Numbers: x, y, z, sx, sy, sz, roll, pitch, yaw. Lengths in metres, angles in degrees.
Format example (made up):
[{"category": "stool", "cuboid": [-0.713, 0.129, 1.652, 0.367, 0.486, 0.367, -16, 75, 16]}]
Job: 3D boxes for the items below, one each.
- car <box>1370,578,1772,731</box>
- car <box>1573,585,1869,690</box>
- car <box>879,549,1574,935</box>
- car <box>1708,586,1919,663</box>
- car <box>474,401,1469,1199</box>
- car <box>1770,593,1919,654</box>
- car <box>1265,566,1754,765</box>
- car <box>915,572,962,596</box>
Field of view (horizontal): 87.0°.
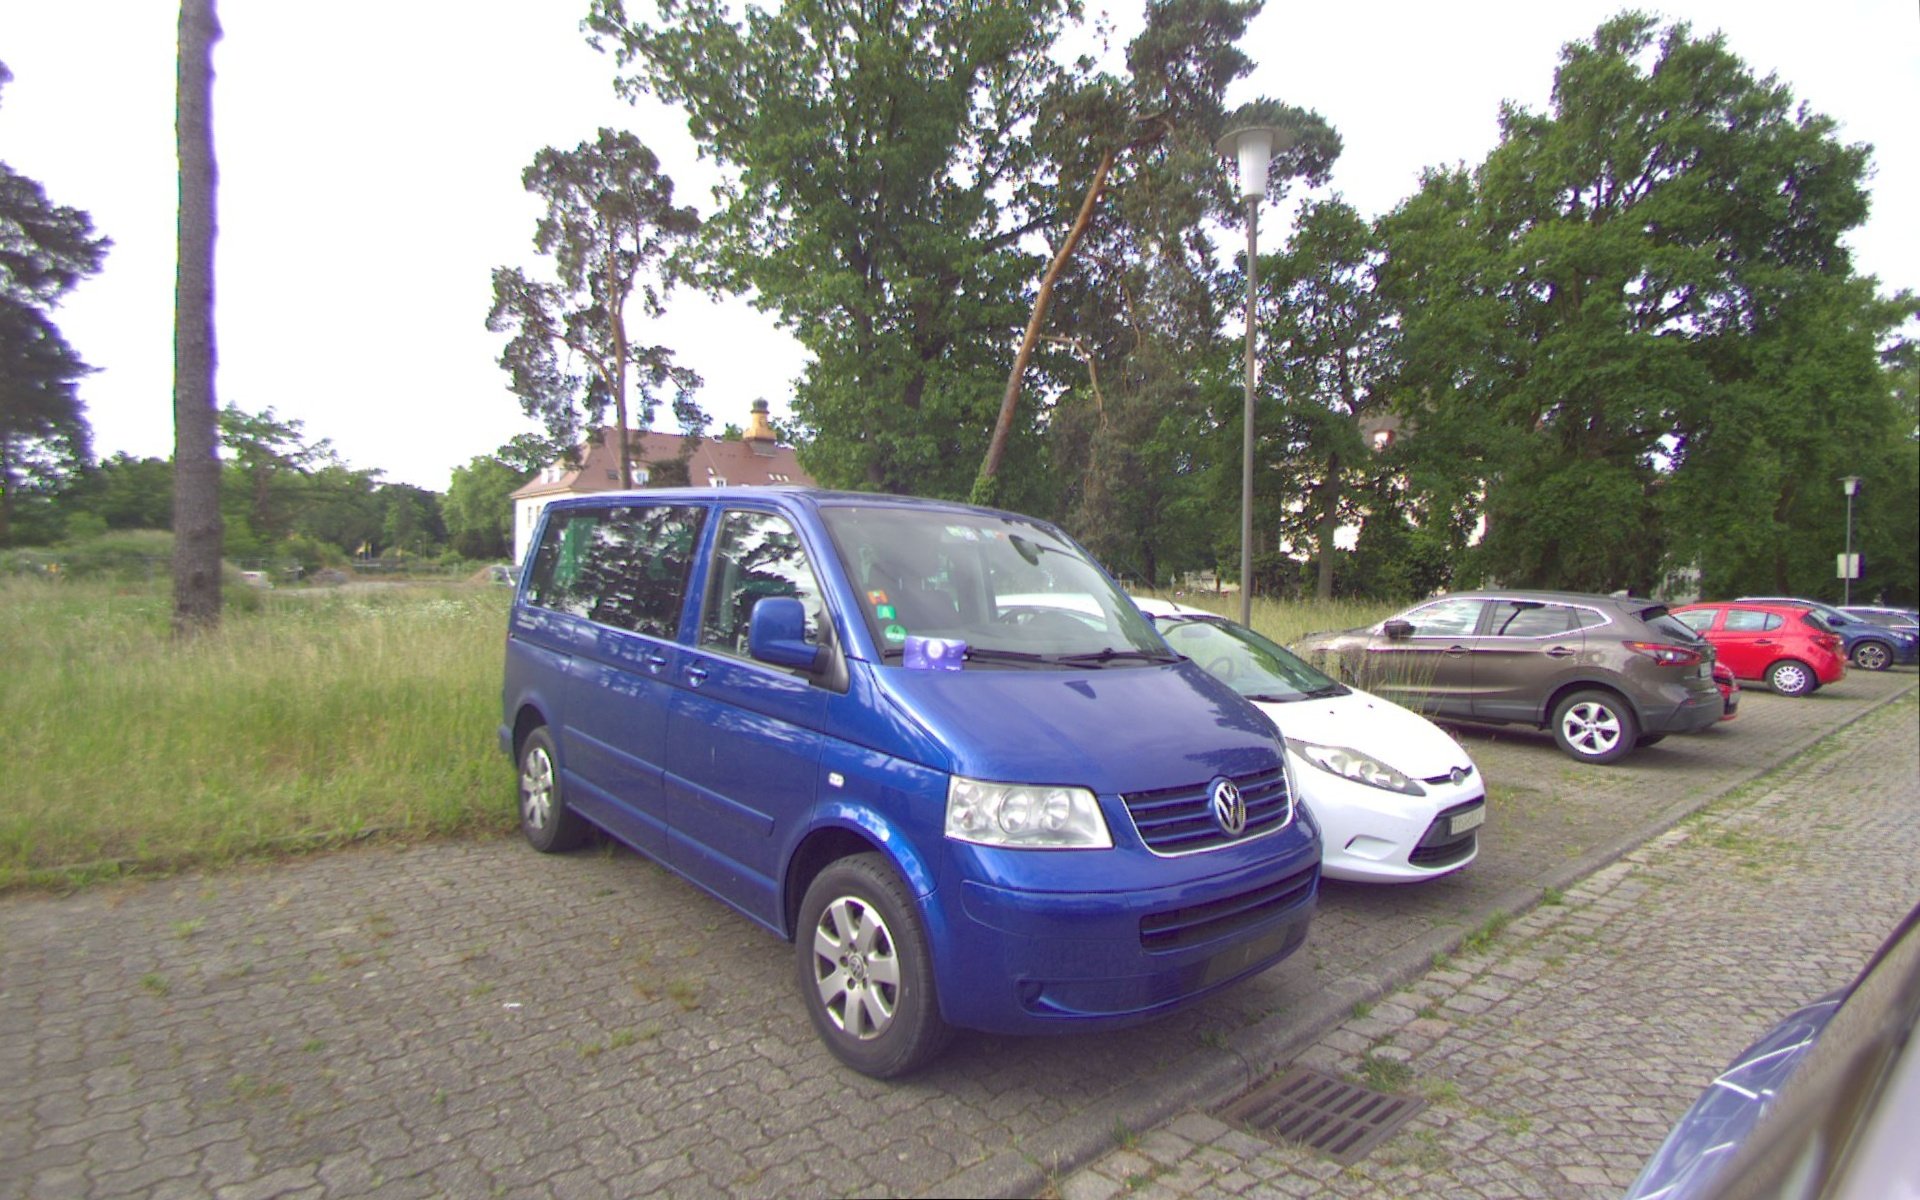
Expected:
[{"category": "car", "cuboid": [7.577, 0.547, 12.865, 1.735, 1.504, 4.015, 0, 3, -41]}, {"category": "car", "cuboid": [13.188, 0.559, 17.718, 1.555, 1.478, 3.891, 0, 3, -42]}, {"category": "car", "cuboid": [1.415, 0.558, 6.477, 1.810, 1.489, 3.870, 0, 5, -42]}, {"category": "car", "cuboid": [20.745, 0.528, 24.365, 1.555, 1.557, 4.146, 0, 3, -42]}, {"category": "car", "cuboid": [-0.501, 0.380, 4.844, 1.969, 1.969, 4.816, 0, 3, -42]}, {"category": "car", "cuboid": [24.366, 0.613, 27.179, 1.555, 1.443, 3.874, 0, 3, -42]}, {"category": "car", "cuboid": [5.703, 0.514, 10.936, 1.791, 1.618, 4.267, 0, 3, -42]}, {"category": "car", "cuboid": [-1.913, -1.427, 89.769, 1.994, 2.039, 3.937, 1, 1, 43]}]
